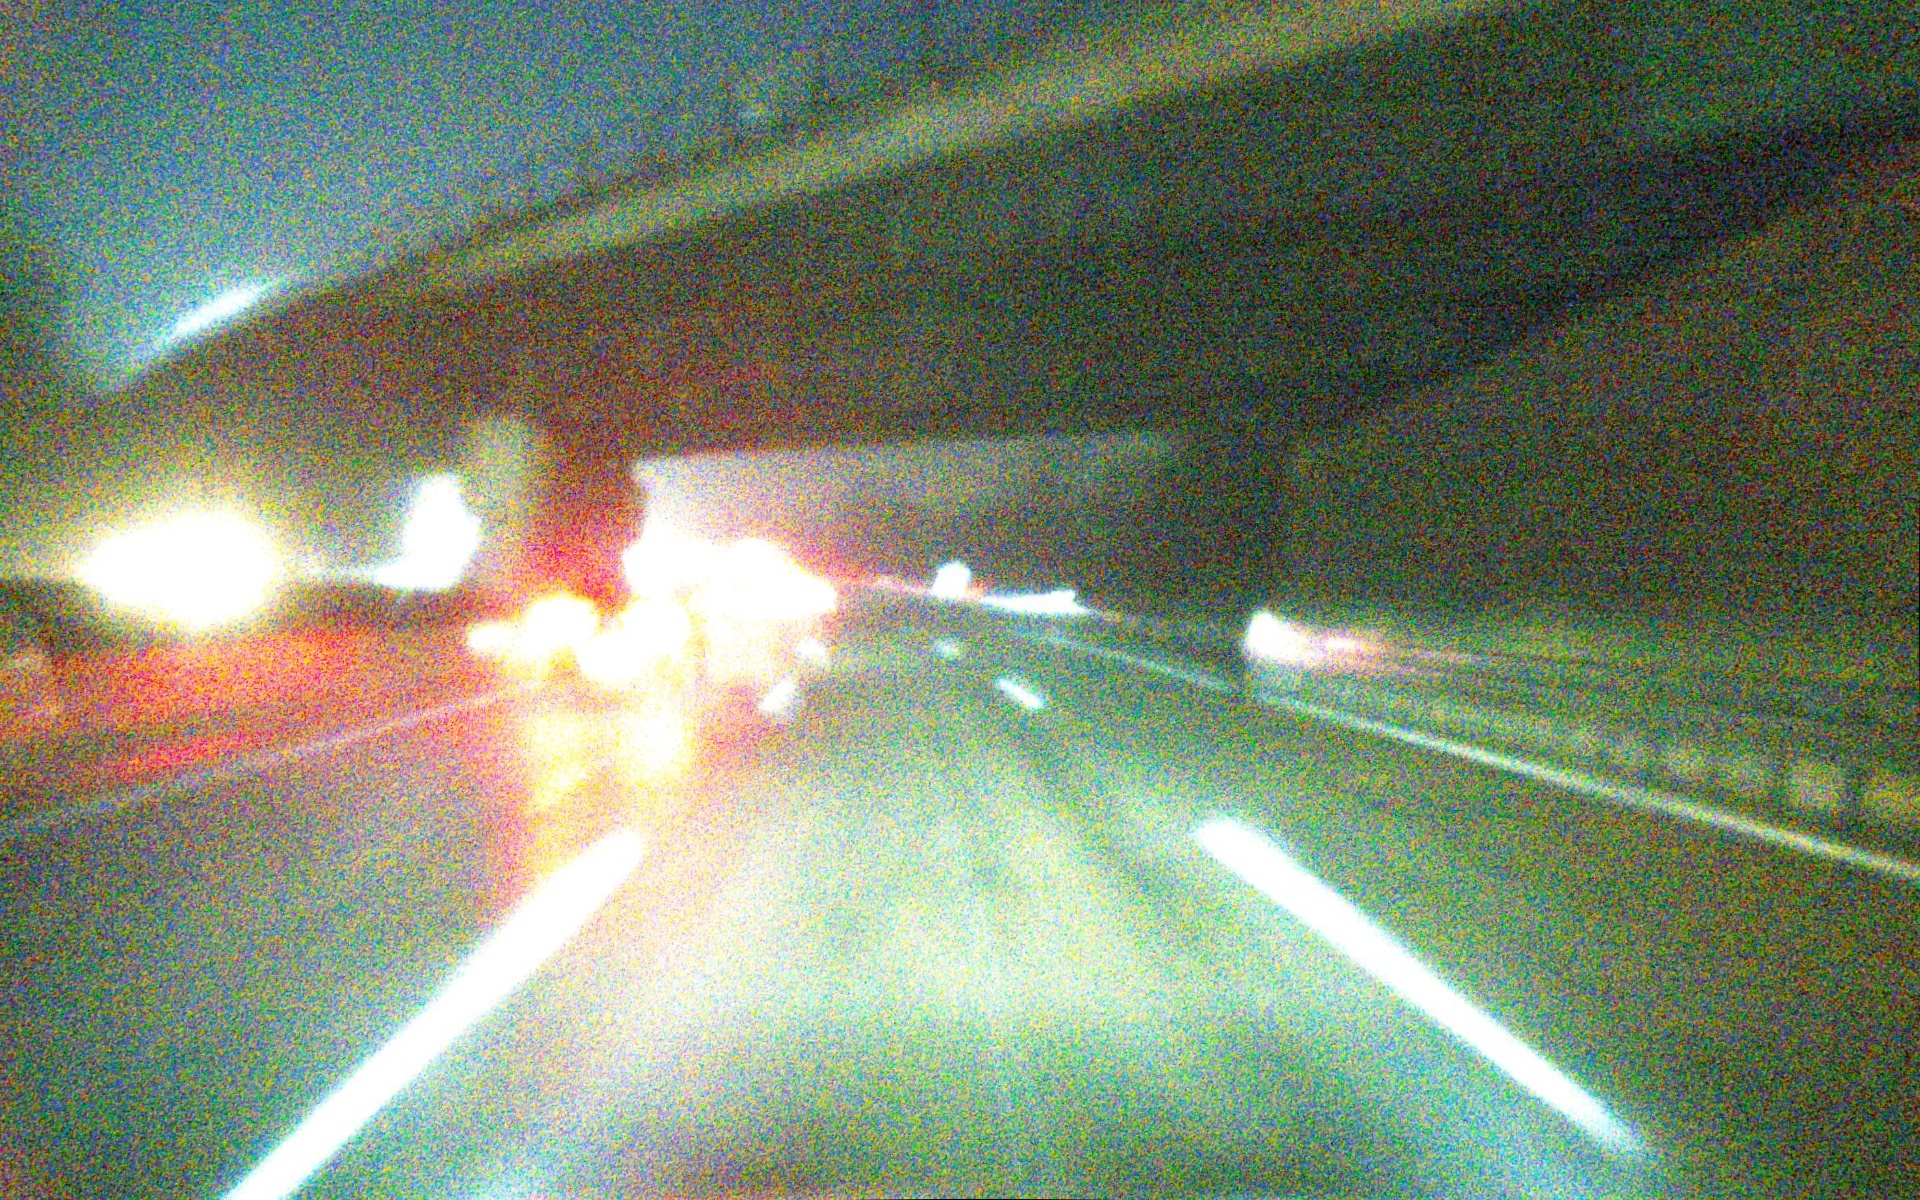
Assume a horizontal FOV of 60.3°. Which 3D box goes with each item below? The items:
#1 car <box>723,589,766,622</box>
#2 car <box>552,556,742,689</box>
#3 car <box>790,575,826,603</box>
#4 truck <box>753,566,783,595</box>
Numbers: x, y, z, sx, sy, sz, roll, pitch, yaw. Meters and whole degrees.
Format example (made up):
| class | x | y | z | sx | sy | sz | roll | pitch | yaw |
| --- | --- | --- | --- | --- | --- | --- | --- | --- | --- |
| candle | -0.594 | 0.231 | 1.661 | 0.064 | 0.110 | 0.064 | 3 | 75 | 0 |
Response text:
| class | x | y | z | sx | sy | sz | roll | pitch | yaw |
| --- | --- | --- | --- | --- | --- | --- | --- | --- | --- |
| car | -8.607 | 0.203 | 66.156 | 1.631 | 1.258 | 3.755 | 1 | 0 | -7 |
| car | -4.340 | 0.273 | 23.654 | 1.821 | 1.567 | 4.749 | 4 | 0 | -2 |
| car | -8.457 | -0.589 | 92.365 | 1.765 | 1.513 | 3.998 | 1 | 0 | -2 |
| truck | -20.869 | -2.063 | 179.419 | 1.962 | 3.096 | 6.432 | 1 | 0 | -18 |
